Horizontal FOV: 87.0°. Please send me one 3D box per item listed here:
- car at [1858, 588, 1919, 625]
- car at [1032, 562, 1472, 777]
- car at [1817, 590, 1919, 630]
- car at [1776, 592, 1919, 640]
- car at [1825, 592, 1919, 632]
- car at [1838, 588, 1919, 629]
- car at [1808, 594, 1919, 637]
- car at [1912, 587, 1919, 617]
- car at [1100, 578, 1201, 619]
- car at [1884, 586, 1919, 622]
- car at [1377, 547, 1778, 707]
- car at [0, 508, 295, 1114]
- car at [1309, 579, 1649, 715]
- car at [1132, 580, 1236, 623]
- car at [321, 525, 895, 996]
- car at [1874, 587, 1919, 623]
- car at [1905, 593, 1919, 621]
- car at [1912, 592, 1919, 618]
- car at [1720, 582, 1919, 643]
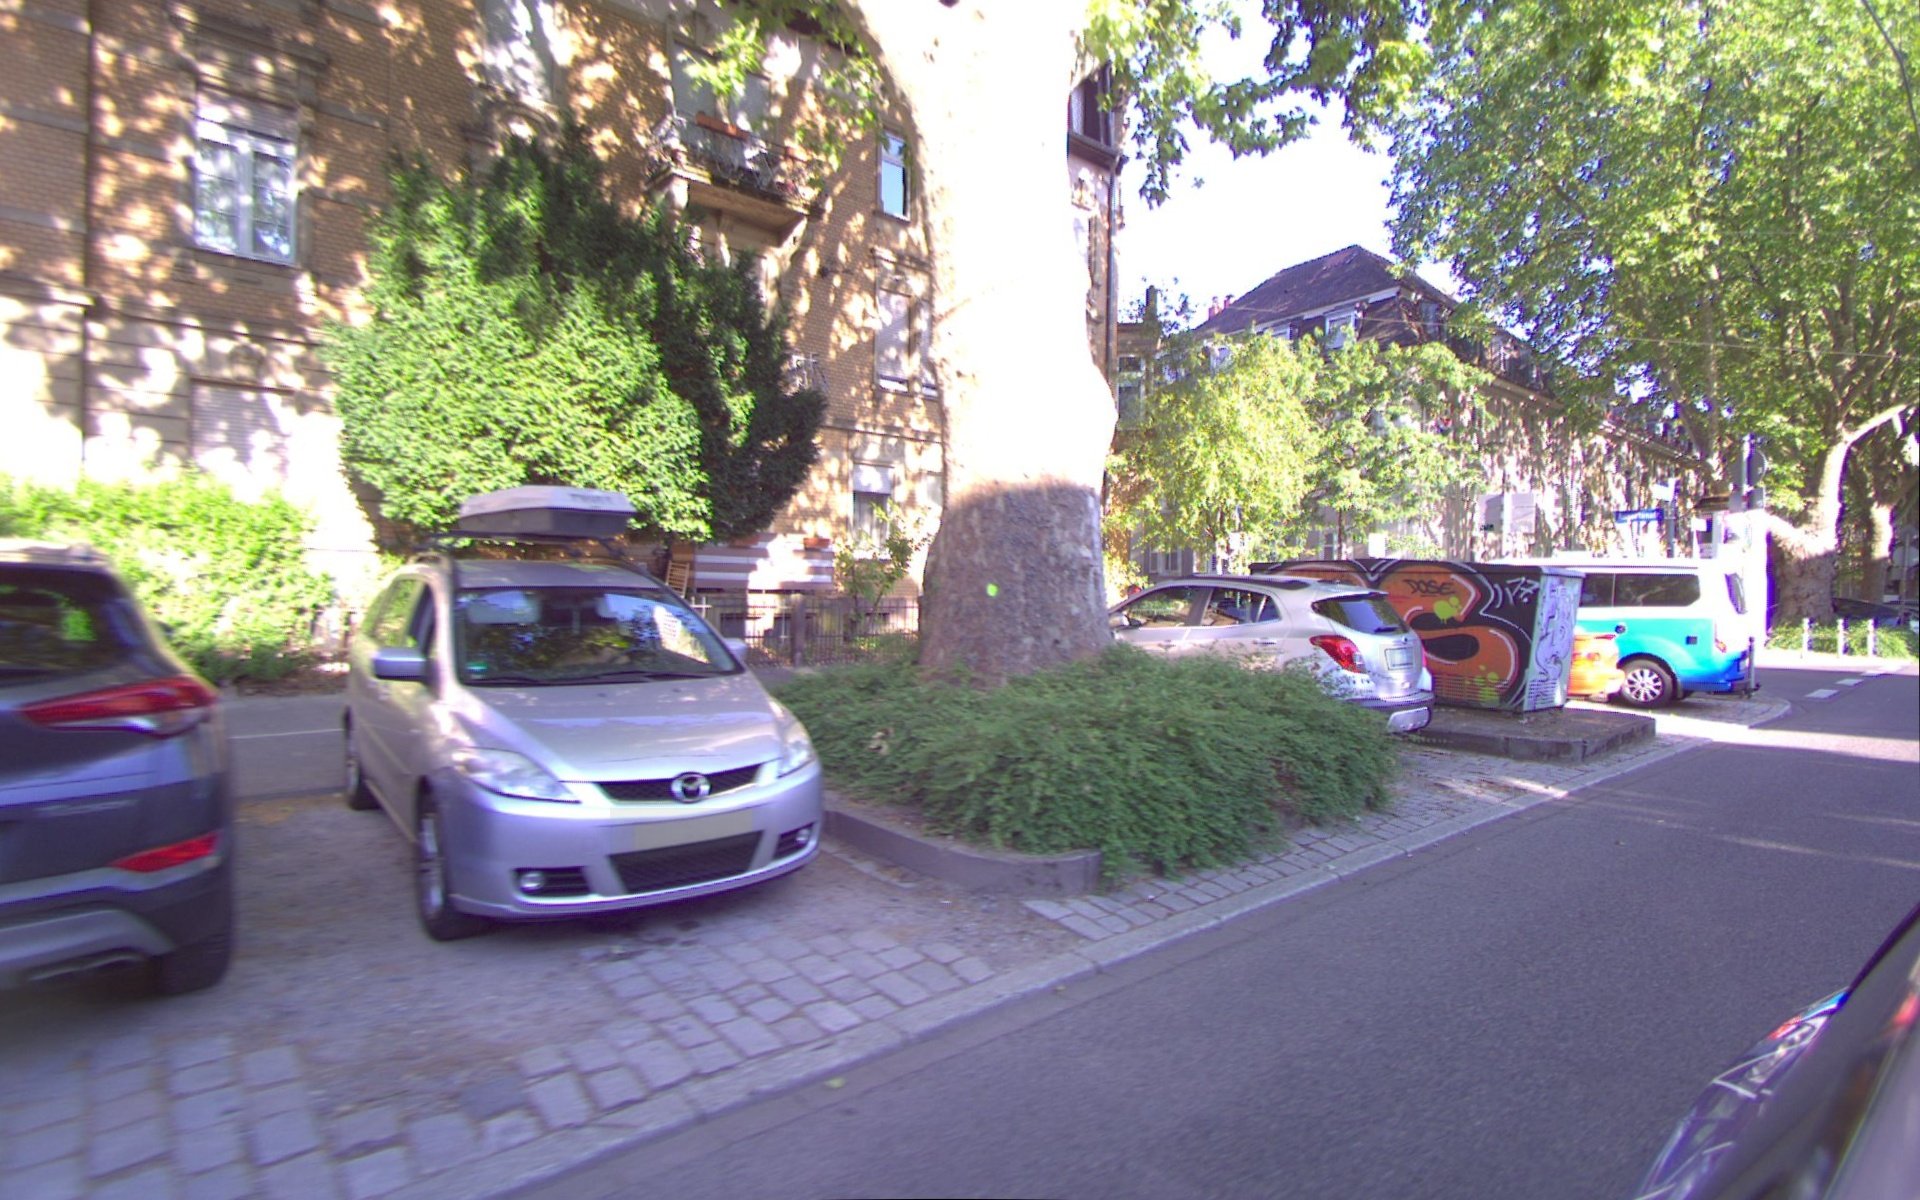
[{"bbox_3d":[46.146,0.350,48.338,1.858,1.661,4.613,1,1,-38],"label":"car"},{"bbox_3d":[2.702,0.496,9.980,1.760,1.638,3.787,0,2,-43],"label":"car"},{"bbox_3d":[39.581,0.432,42.971,1.858,1.585,4.613,1,1,-38],"label":"car"},{"bbox_3d":[31.915,0.556,35.680,1.858,1.513,4.613,1,1,-38],"label":"car"},{"bbox_3d":[38.226,0.489,40.967,1.858,1.513,4.613,1,1,-38],"label":"car"},{"bbox_3d":[41.341,0.389,43.892,1.858,1.661,4.613,1,1,-38],"label":"car"},{"bbox_3d":[36.211,0.608,39.415,1.858,1.513,4.613,1,1,-38],"label":"car"},{"bbox_3d":[61.558,0.196,61.889,1.858,1.814,4.613,1,1,-38],"label":"car"},{"bbox_3d":[7.892,-0.057,41.841,3.921,1.602,1.732,0,1,-32],"label":"car"},{"bbox_3d":[55.287,0.275,56.941,1.858,2.039,4.638,1,1,-38],"label":"car"},{"bbox_3d":[9.297,0.255,15.575,2.158,2.038,4.851,0,2,-44],"label":"car"},{"bbox_3d":[-4.212,0.531,4.087,1.847,1.639,4.204,0,1,-43],"label":"car"},{"bbox_3d":[7.036,0.527,13.977,1.760,1.506,3.787,0,2,-43],"label":"car"},{"bbox_3d":[8.855,0.036,39.908,3.921,1.602,1.732,0,1,-32],"label":"car"},{"bbox_3d":[-2.304,0.518,5.737,1.784,1.639,4.210,0,1,-38],"label":"car"},{"bbox_3d":[50.884,0.311,52.683,1.858,1.814,4.613,1,1,-38],"label":"car"},{"bbox_3d":[59.579,0.484,60.263,1.858,1.661,4.613,1,1,-38],"label":"car"},{"bbox_3d":[66.548,0.383,67.225,1.858,1.736,4.613,1,1,-38],"label":"car"},{"bbox_3d":[26.515,0.345,31.048,1.859,1.651,4.808,1,1,-41],"label":"car"}]
